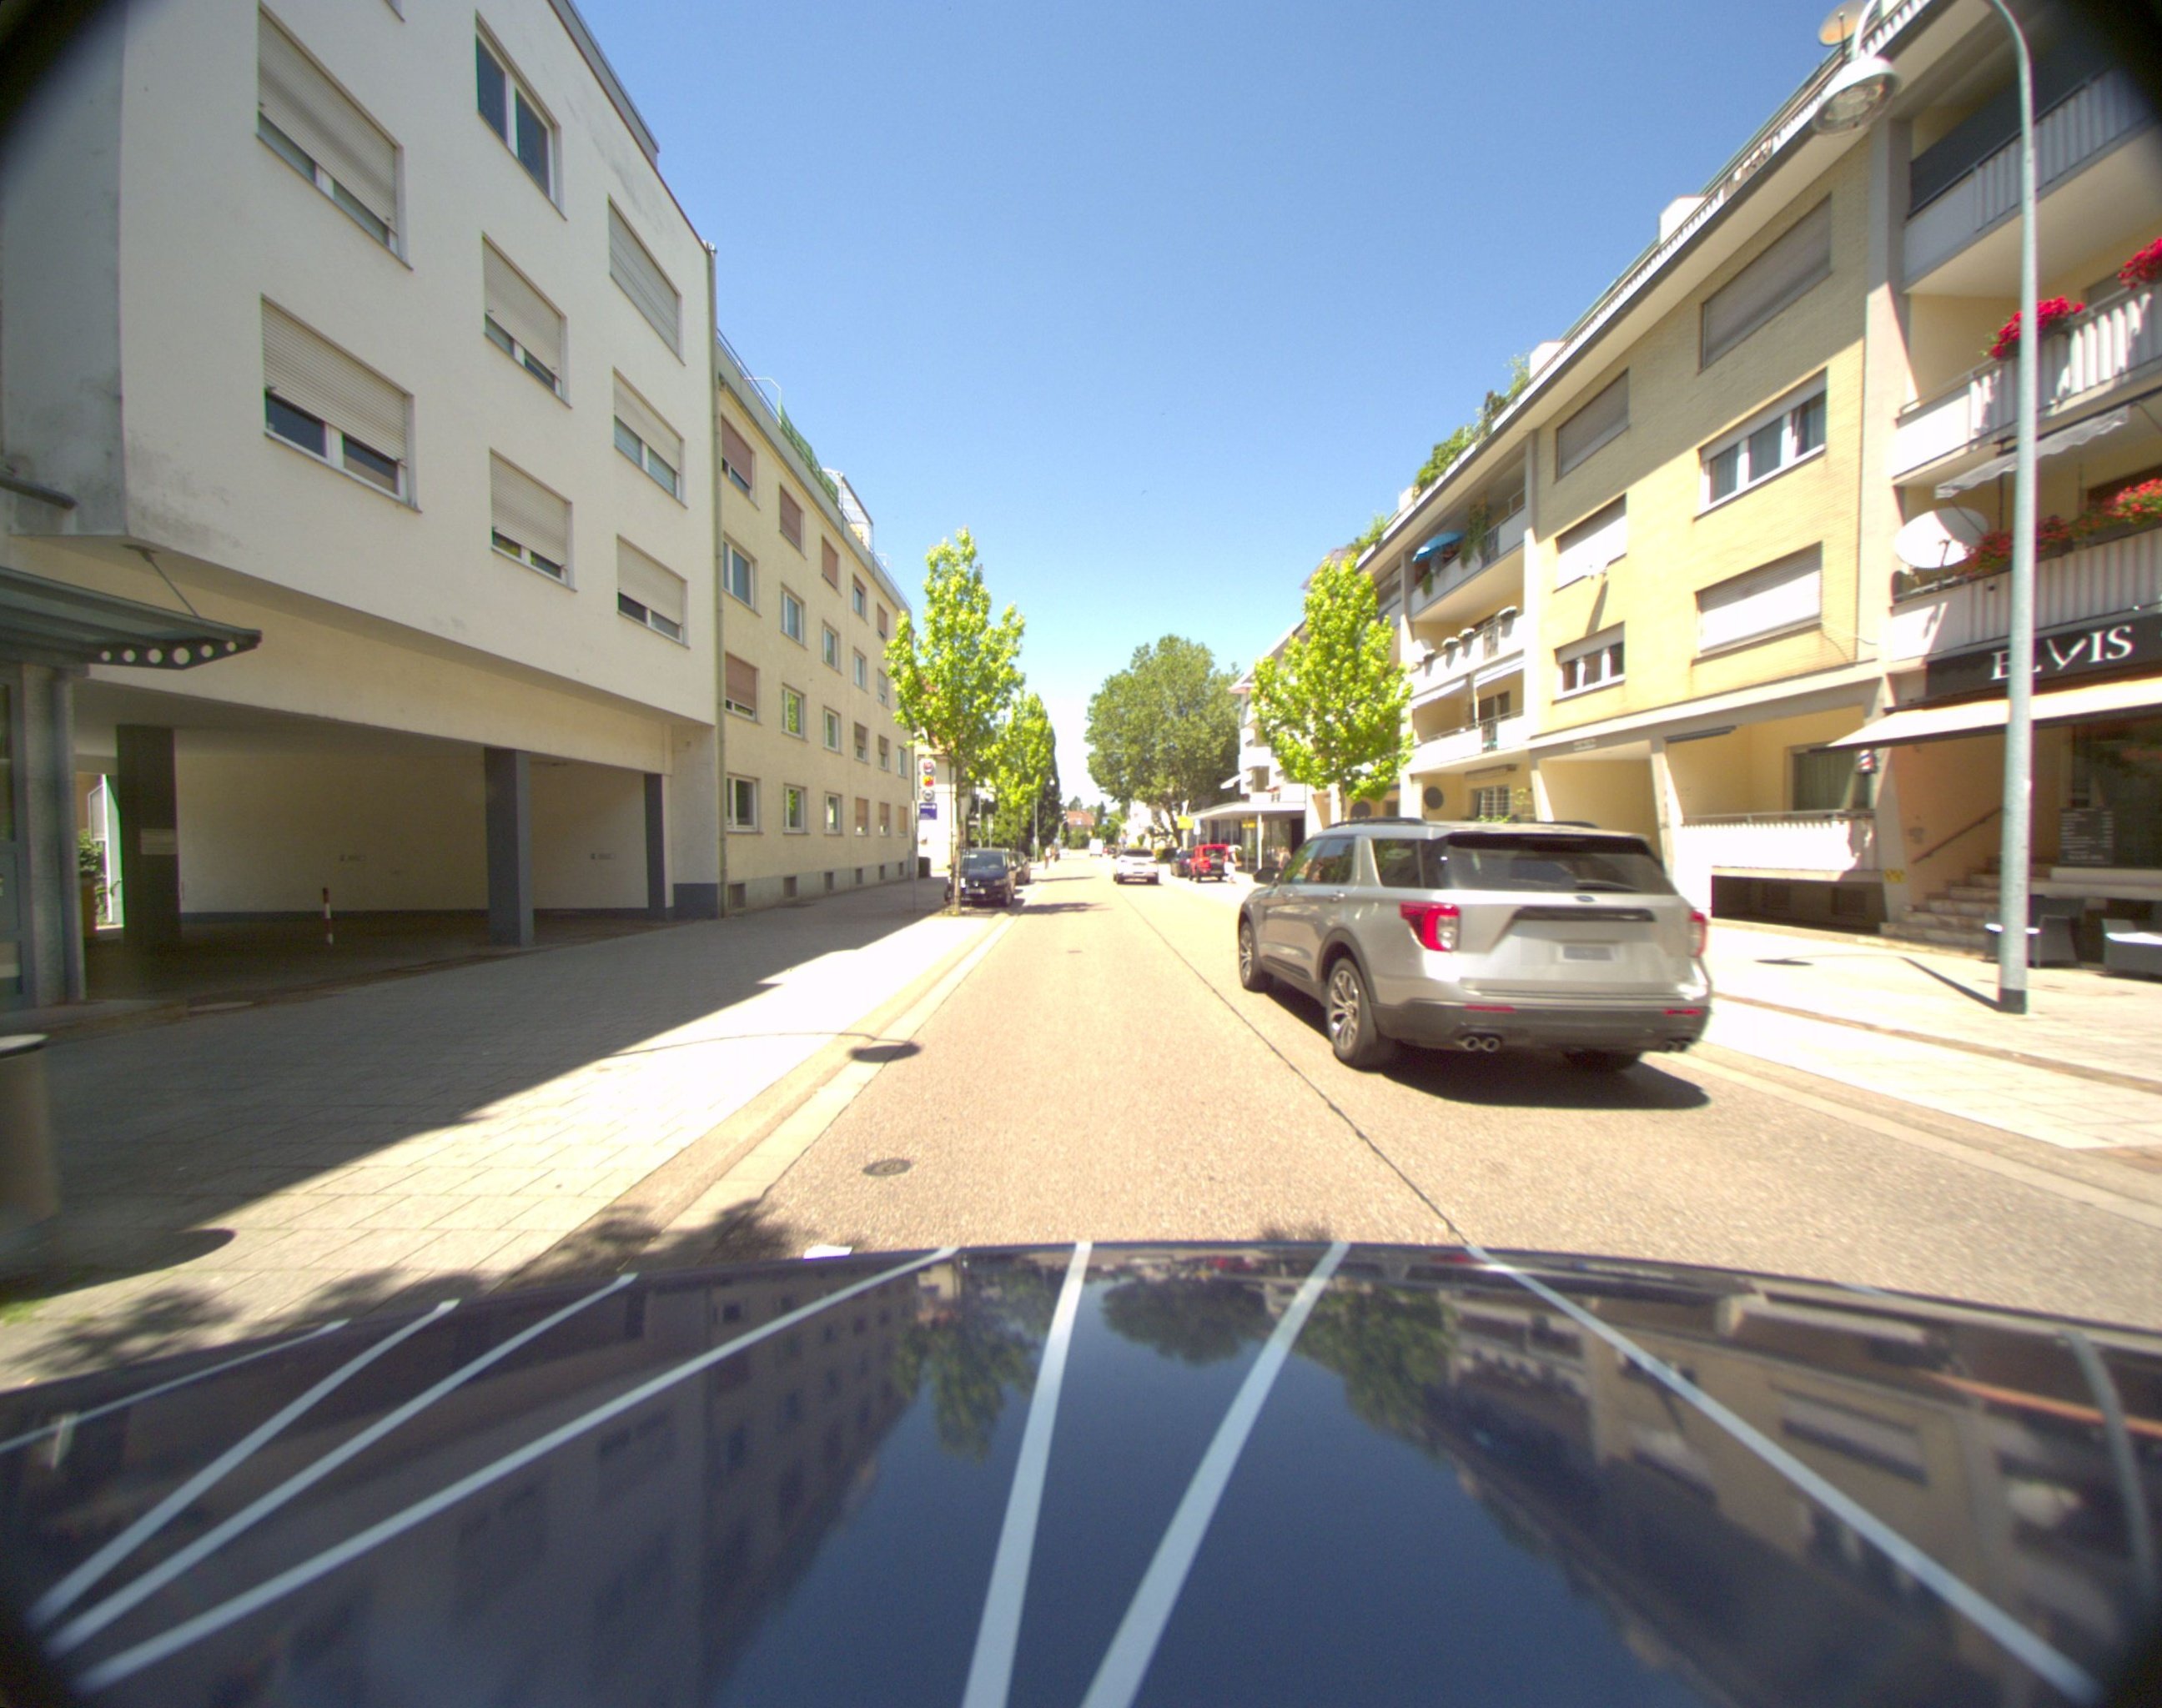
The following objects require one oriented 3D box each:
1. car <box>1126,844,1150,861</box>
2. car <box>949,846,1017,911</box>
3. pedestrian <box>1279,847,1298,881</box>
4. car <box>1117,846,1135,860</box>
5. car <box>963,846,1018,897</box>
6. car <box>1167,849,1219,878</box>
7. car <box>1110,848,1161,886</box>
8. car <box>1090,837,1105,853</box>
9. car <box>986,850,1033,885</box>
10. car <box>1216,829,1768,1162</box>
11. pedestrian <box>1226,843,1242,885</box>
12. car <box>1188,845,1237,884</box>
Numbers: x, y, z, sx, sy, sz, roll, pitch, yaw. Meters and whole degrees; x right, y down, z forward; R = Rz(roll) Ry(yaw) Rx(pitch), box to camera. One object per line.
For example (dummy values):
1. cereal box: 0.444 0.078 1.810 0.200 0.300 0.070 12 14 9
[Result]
1. car: 5.466 -0.166 72.945 1.998 1.499 3.999 -1 1 0
2. car: -2.840 0.653 22.733 1.693 1.712 3.998 2 0 -3
3. pedestrian: 9.227 0.451 33.870 0.778 1.490 0.698 0 1 11
4. car: 5.548 -0.104 93.510 1.998 1.630 3.999 -1 1 0
5. car: -3.273 0.582 28.188 1.693 1.712 4.132 -1 1 -3
6. car: 5.984 0.487 41.049 1.999 1.455 3.998 -2 1 -3
7. car: 2.411 0.533 34.471 1.776 1.623 4.298 -1 1 -3
8. car: 2.582 -1.441 120.311 2.231 2.452 5.248 -1 1 0
9. car: -3.198 0.578 34.687 1.693 1.479 4.133 -1 1 0
10. car: 2.620 0.719 6.411 1.906 1.744 4.755 0 1 -3
11. pedestrian: 6.577 0.442 32.758 0.667 1.794 0.686 0 1 12
12. car: 5.972 0.450 34.841 1.644 1.652 3.370 -2 1 0
